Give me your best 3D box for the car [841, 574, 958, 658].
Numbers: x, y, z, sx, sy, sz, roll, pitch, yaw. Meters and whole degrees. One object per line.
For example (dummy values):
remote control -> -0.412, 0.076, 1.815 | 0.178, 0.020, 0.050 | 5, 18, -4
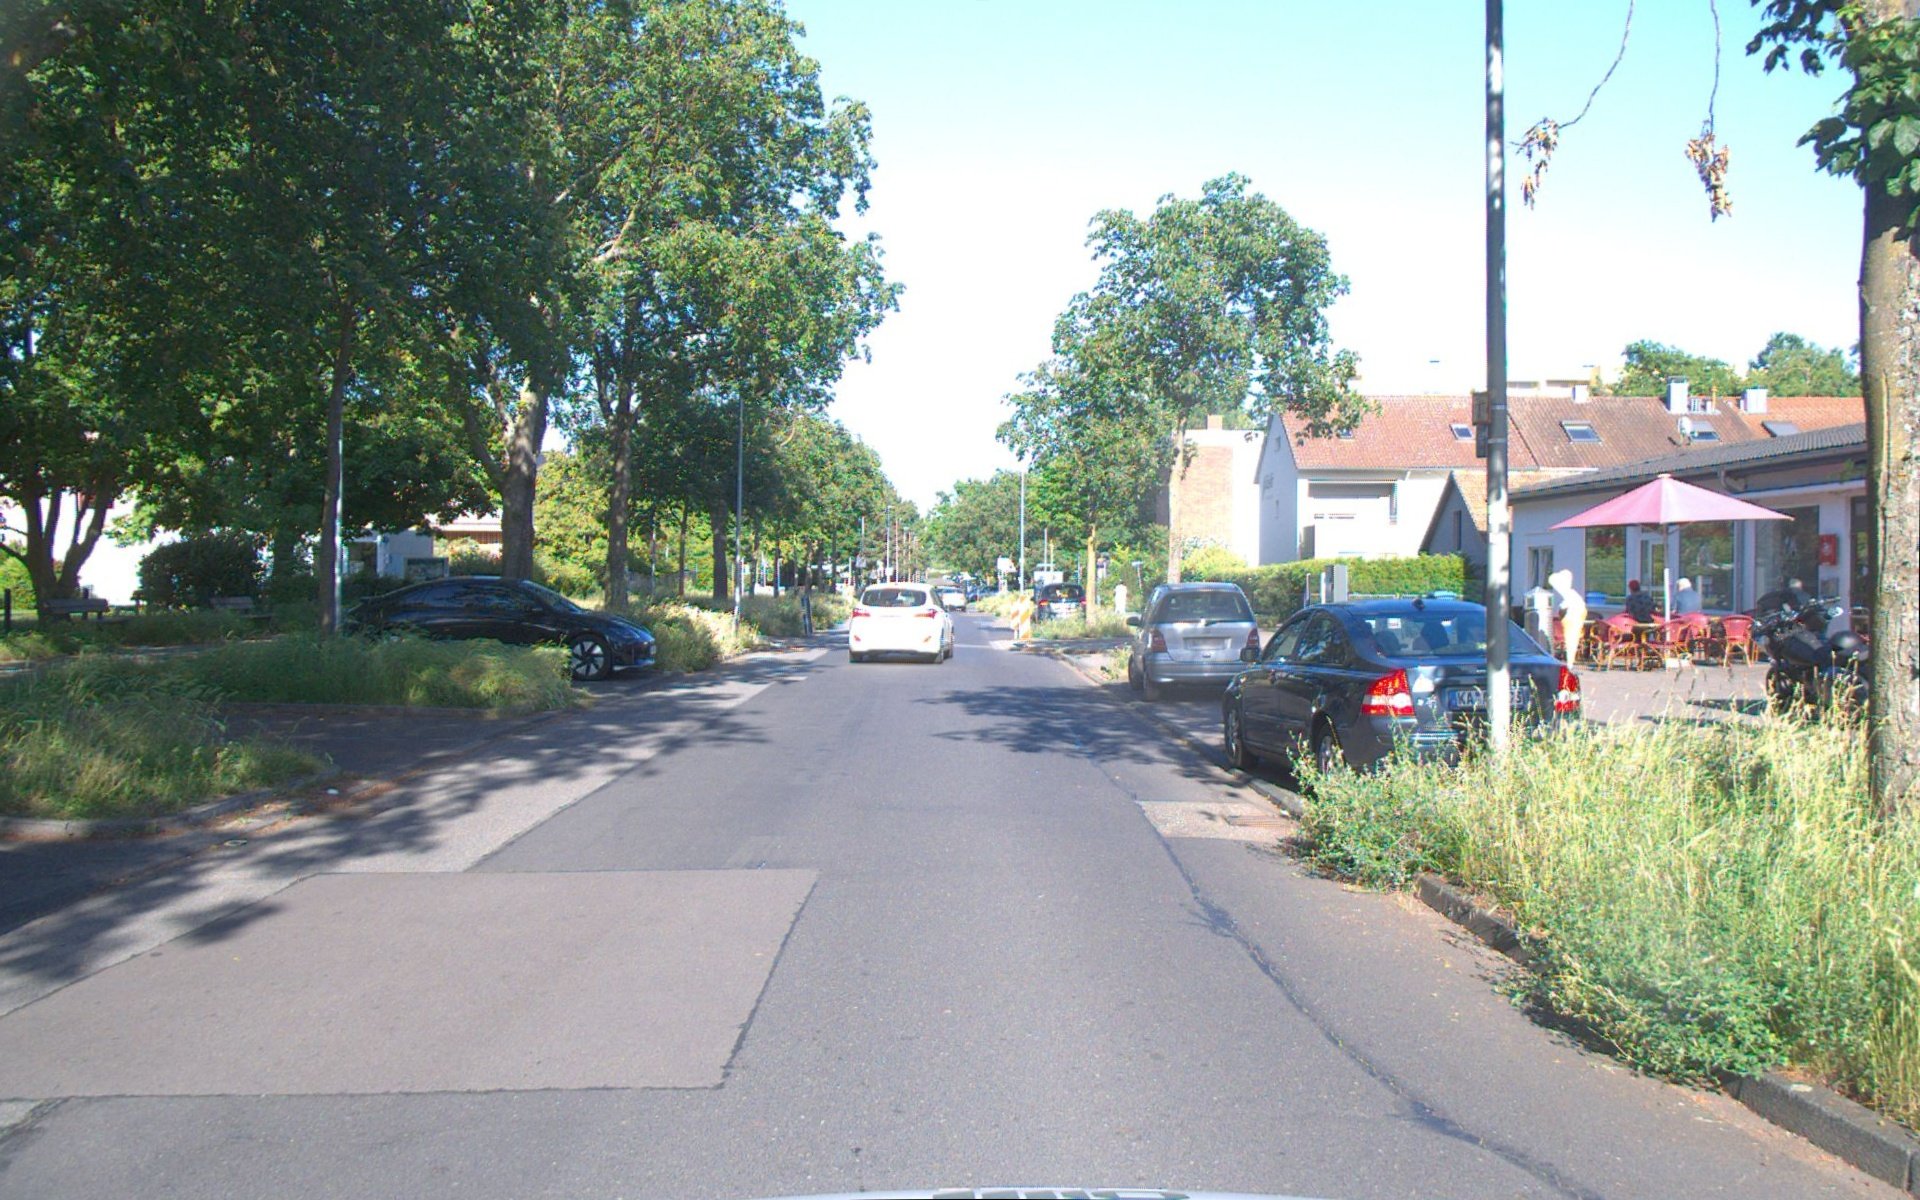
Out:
car -> -1.102, 0.262, 32.262 | 1.952, 1.480, 4.226 | 1, 1, 2

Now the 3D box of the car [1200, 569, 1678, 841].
car -> 3.415, 0.651, 12.823 | 1.956, 1.650, 4.376 | 4, 0, -7

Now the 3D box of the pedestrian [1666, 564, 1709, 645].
pedestrian -> 13.063, 0.080, 29.701 | 0.649, 1.433, 0.492 | -1, 0, 28

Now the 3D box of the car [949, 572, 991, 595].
car -> 0.964, -1.592, 159.362 | 3.907, 2.049, 1.999 | 1, 0, -2

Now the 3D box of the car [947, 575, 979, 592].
car -> 0.367, -2.021, 201.415 | 3.906, 2.049, 1.999 | 1, 1, -2

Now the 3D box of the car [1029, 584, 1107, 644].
car -> 3.286, 0.411, 50.993 | 1.954, 1.758, 3.998 | -1, 0, -3

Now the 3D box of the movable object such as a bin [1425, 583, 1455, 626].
movable object such as a bin -> 11.974, 0.100, 41.281 | 0.483, 1.049, 0.747 | -2, 0, -2

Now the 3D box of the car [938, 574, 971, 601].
car -> -0.338, -0.777, 103.317 | 1.953, 1.534, 3.658 | 4, 0, -1

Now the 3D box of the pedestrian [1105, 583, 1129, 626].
pedestrian -> 7.657, 0.208, 80.786 | 1.090, 2.049, 0.921 | 0, 1, -1

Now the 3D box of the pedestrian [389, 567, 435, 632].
pedestrian -> -16.384, -0.021, 49.498 | 1.205, 1.859, 1.544 | 2, 0, -17

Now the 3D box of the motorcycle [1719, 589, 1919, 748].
motorcycle -> 7.667, 0.546, 14.614 | 0.801, 1.248, 2.351 | -1, 1, -1

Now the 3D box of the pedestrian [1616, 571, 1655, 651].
pedestrian -> 12.126, 0.196, 29.702 | 0.430, 1.409, 0.639 | 2, 0, 4

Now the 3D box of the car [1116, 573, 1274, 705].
car -> 3.324, 0.500, 24.136 | 1.577, 1.650, 4.381 | 4, 0, 0

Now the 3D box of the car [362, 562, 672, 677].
car -> -6.777, 0.284, 25.656 | 4.279, 1.558, 1.807 | 2, 0, -2

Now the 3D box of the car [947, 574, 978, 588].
car -> 0.303, -2.448, 211.686 | 3.907, 1.780, 1.999 | 1, 1, -3

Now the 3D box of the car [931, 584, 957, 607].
car -> -1.193, -0.355, 120.238 | 1.780, 1.534, 3.658 | 4, 0, -1
